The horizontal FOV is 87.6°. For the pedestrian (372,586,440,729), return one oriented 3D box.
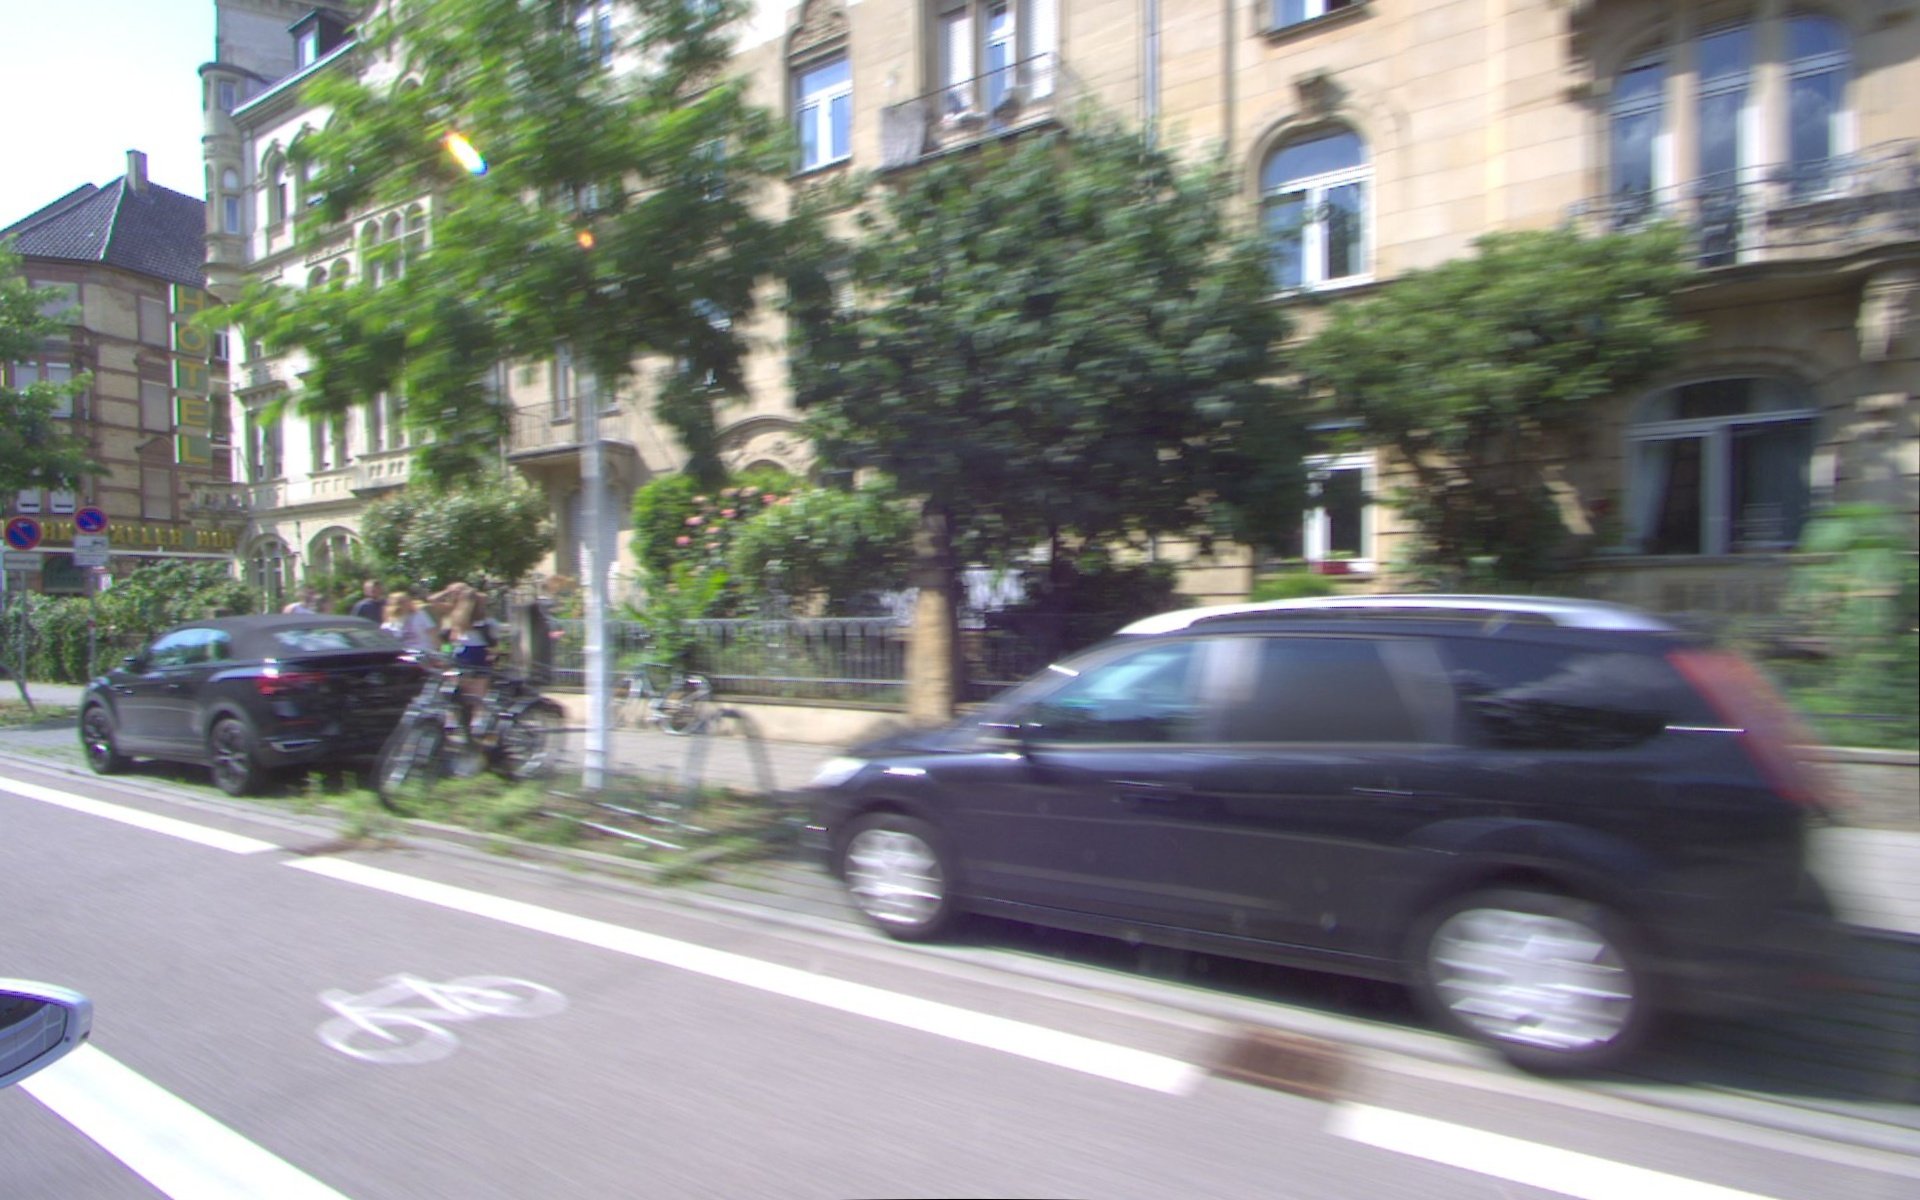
[{"bbox_3d":[-6.920,0.703,12.525,0.489,1.730,0.500,0,3,30],"label":"pedestrian"}]

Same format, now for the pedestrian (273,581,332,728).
[{"bbox_3d":[-8.367,0.682,12.753,0.314,1.829,0.458,0,3,31],"label":"pedestrian"}]

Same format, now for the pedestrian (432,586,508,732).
[{"bbox_3d":[-5.901,0.686,12.068,0.566,1.699,0.527,0,3,29],"label":"pedestrian"}]

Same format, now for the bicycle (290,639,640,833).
[{"bbox_3d":[-3.964,1.000,8.465,0.779,1.262,2.950,0,-1,19],"label":"bicycle"}]

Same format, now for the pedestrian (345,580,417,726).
[{"bbox_3d":[-7.491,0.666,12.978,0.314,1.829,0.668,0,3,30],"label":"pedestrian"}]

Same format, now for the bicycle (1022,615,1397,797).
[{"bbox_3d":[1.949,0.776,8.176,2.901,1.266,0.656,-1,3,33],"label":"bicycle"}]

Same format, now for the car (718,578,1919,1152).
[{"bbox_3d":[1.156,0.736,4.567,4.641,1.522,1.682,-1,-1,33],"label":"car"}]

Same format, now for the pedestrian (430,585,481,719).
[{"bbox_3d":[-6.670,0.673,13.244,0.425,1.730,0.383,0,3,32],"label":"pedestrian"}]

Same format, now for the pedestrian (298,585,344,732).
[{"bbox_3d":[-7.714,0.690,12.090,0.316,1.730,0.456,-4,3,-44],"label":"pedestrian"}]

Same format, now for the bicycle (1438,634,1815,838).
[{"bbox_3d":[4.268,0.824,6.574,1.994,1.155,0.426,-1,3,33],"label":"bicycle"}]

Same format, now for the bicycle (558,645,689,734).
[{"bbox_3d":[-4.016,1.035,11.894,1.782,0.953,0.426,-1,3,33],"label":"bicycle"}]

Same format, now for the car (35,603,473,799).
[{"bbox_3d":[-7.101,0.841,9.990,4.420,1.547,1.796,0,2,29],"label":"car"}]
